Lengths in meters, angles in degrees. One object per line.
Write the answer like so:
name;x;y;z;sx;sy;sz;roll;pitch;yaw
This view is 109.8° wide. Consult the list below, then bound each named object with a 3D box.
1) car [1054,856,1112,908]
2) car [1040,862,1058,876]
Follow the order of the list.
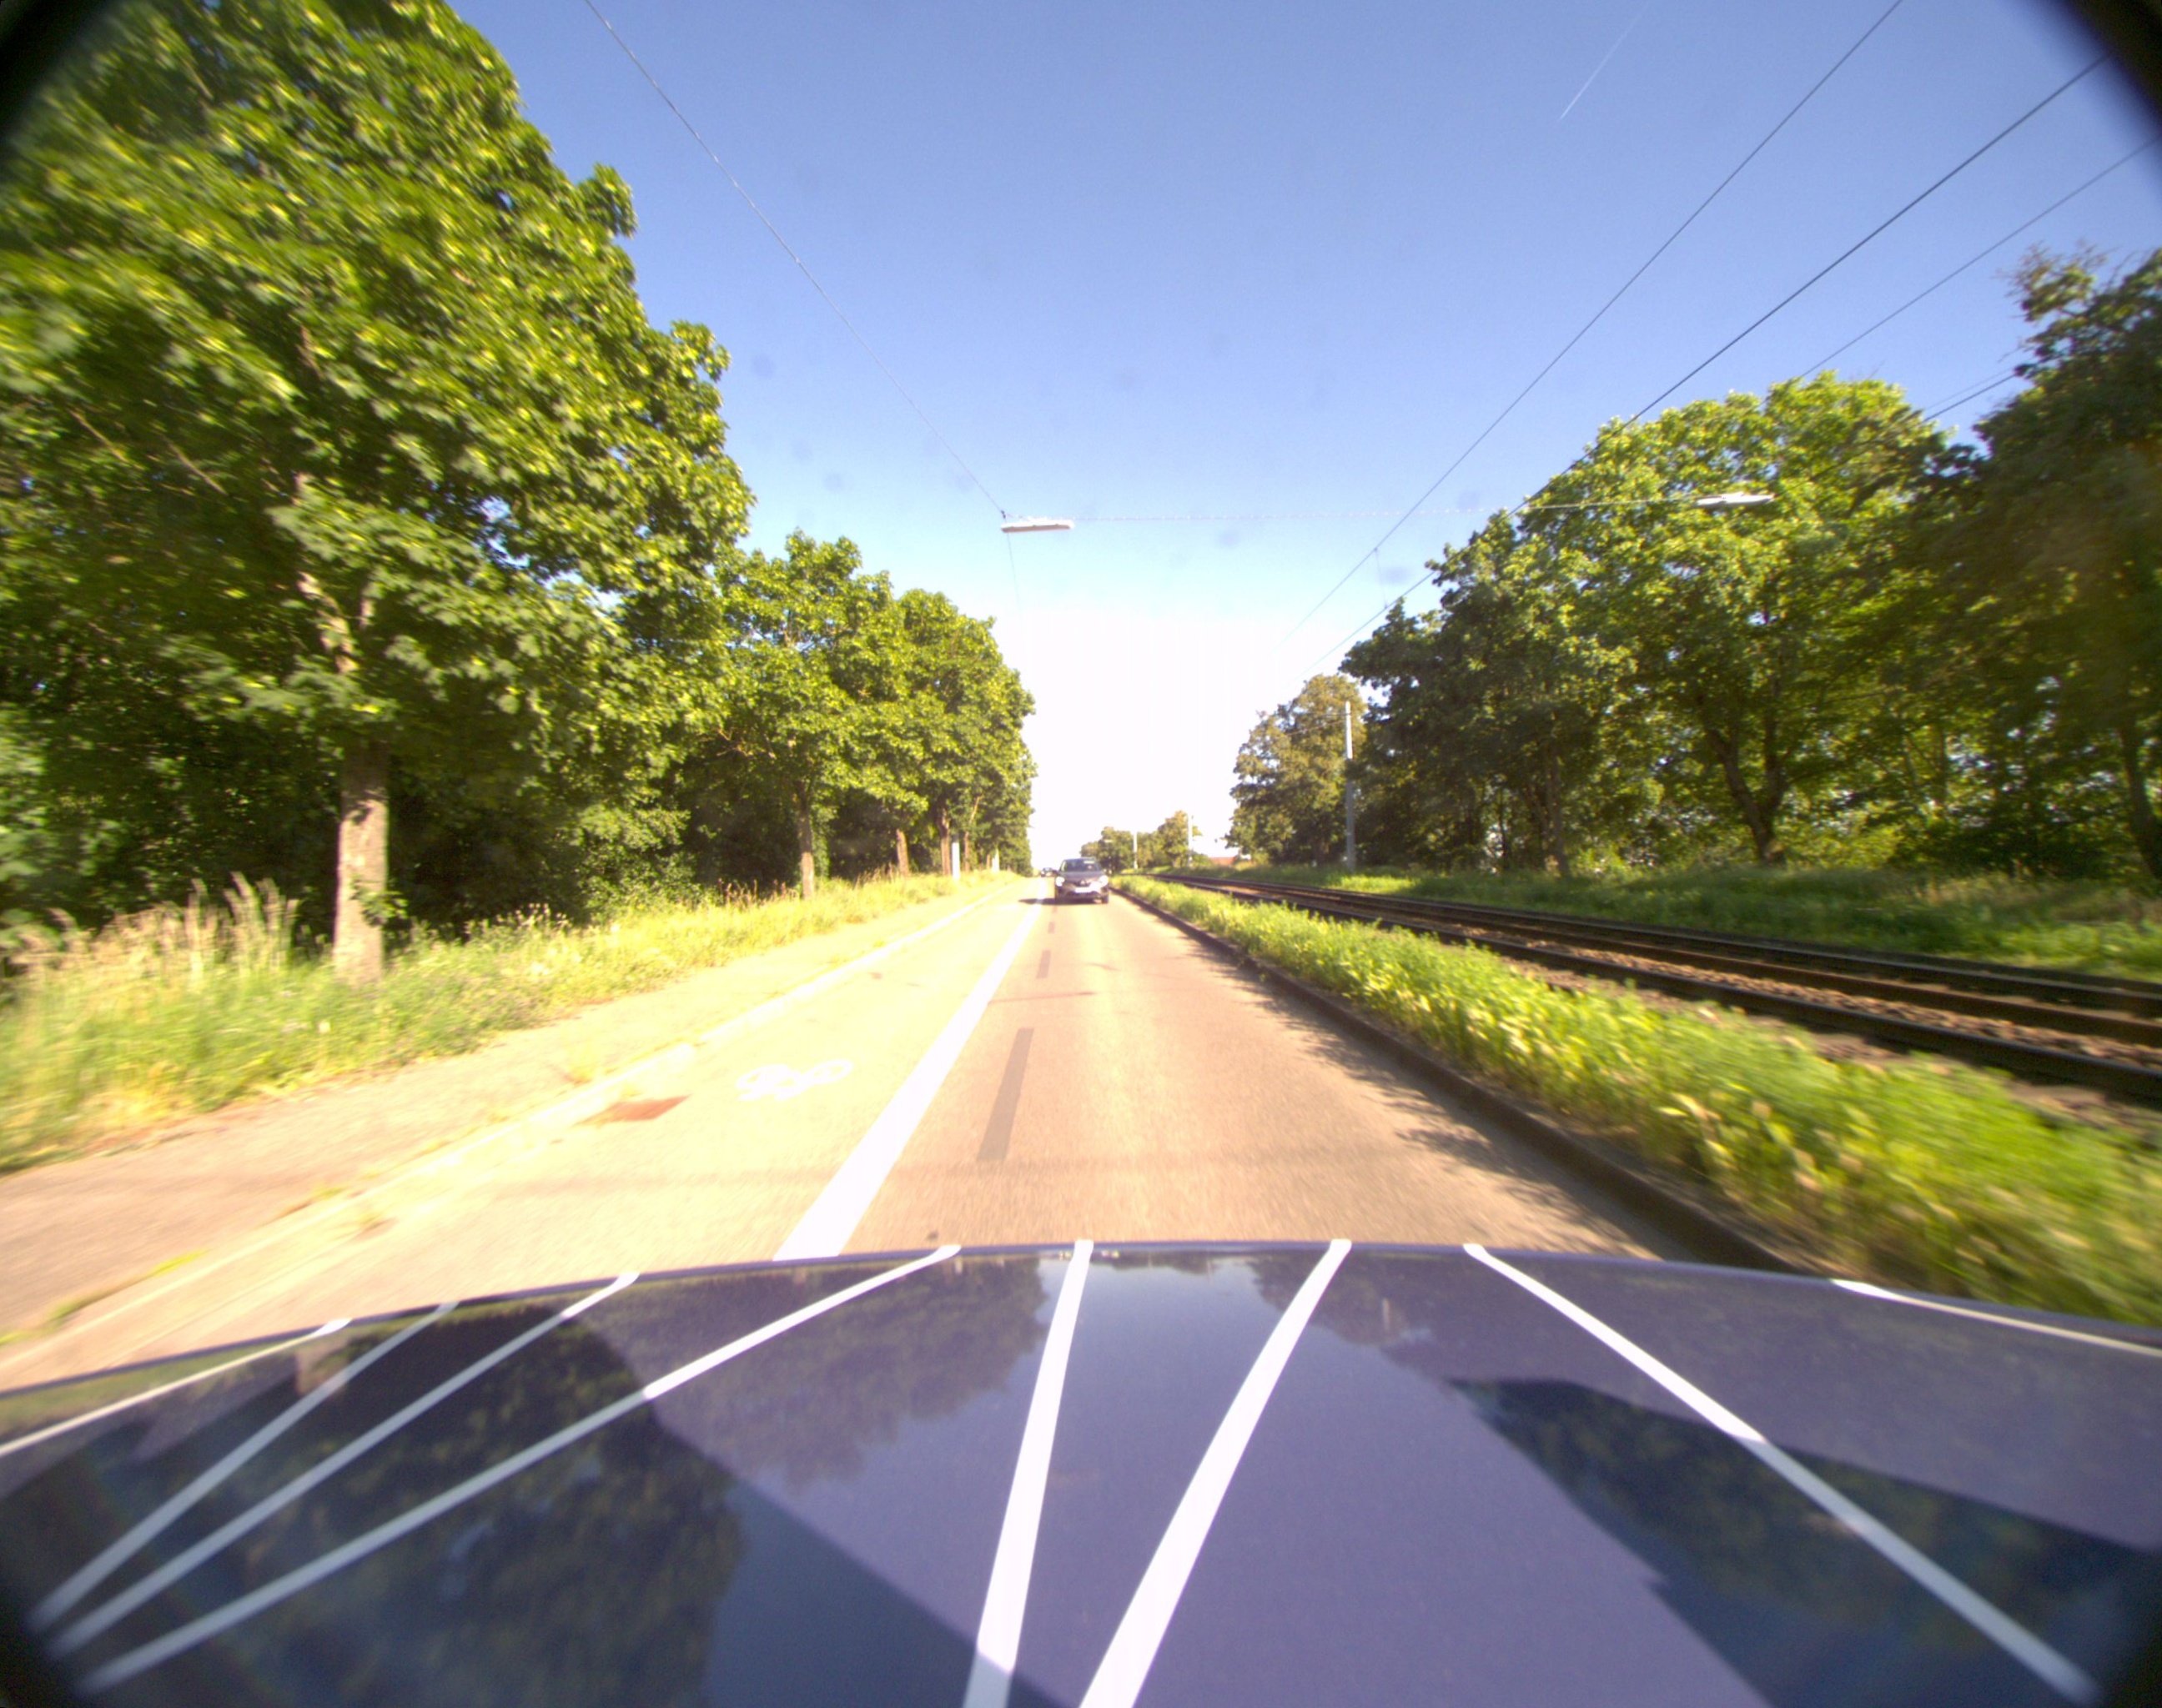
car;-0.003;0.906;26.798;1.822;1.589;4.412;-3;0;-2
car;-4.213;1.908;98.686;1.999;1.577;3.998;-3;0;-6
